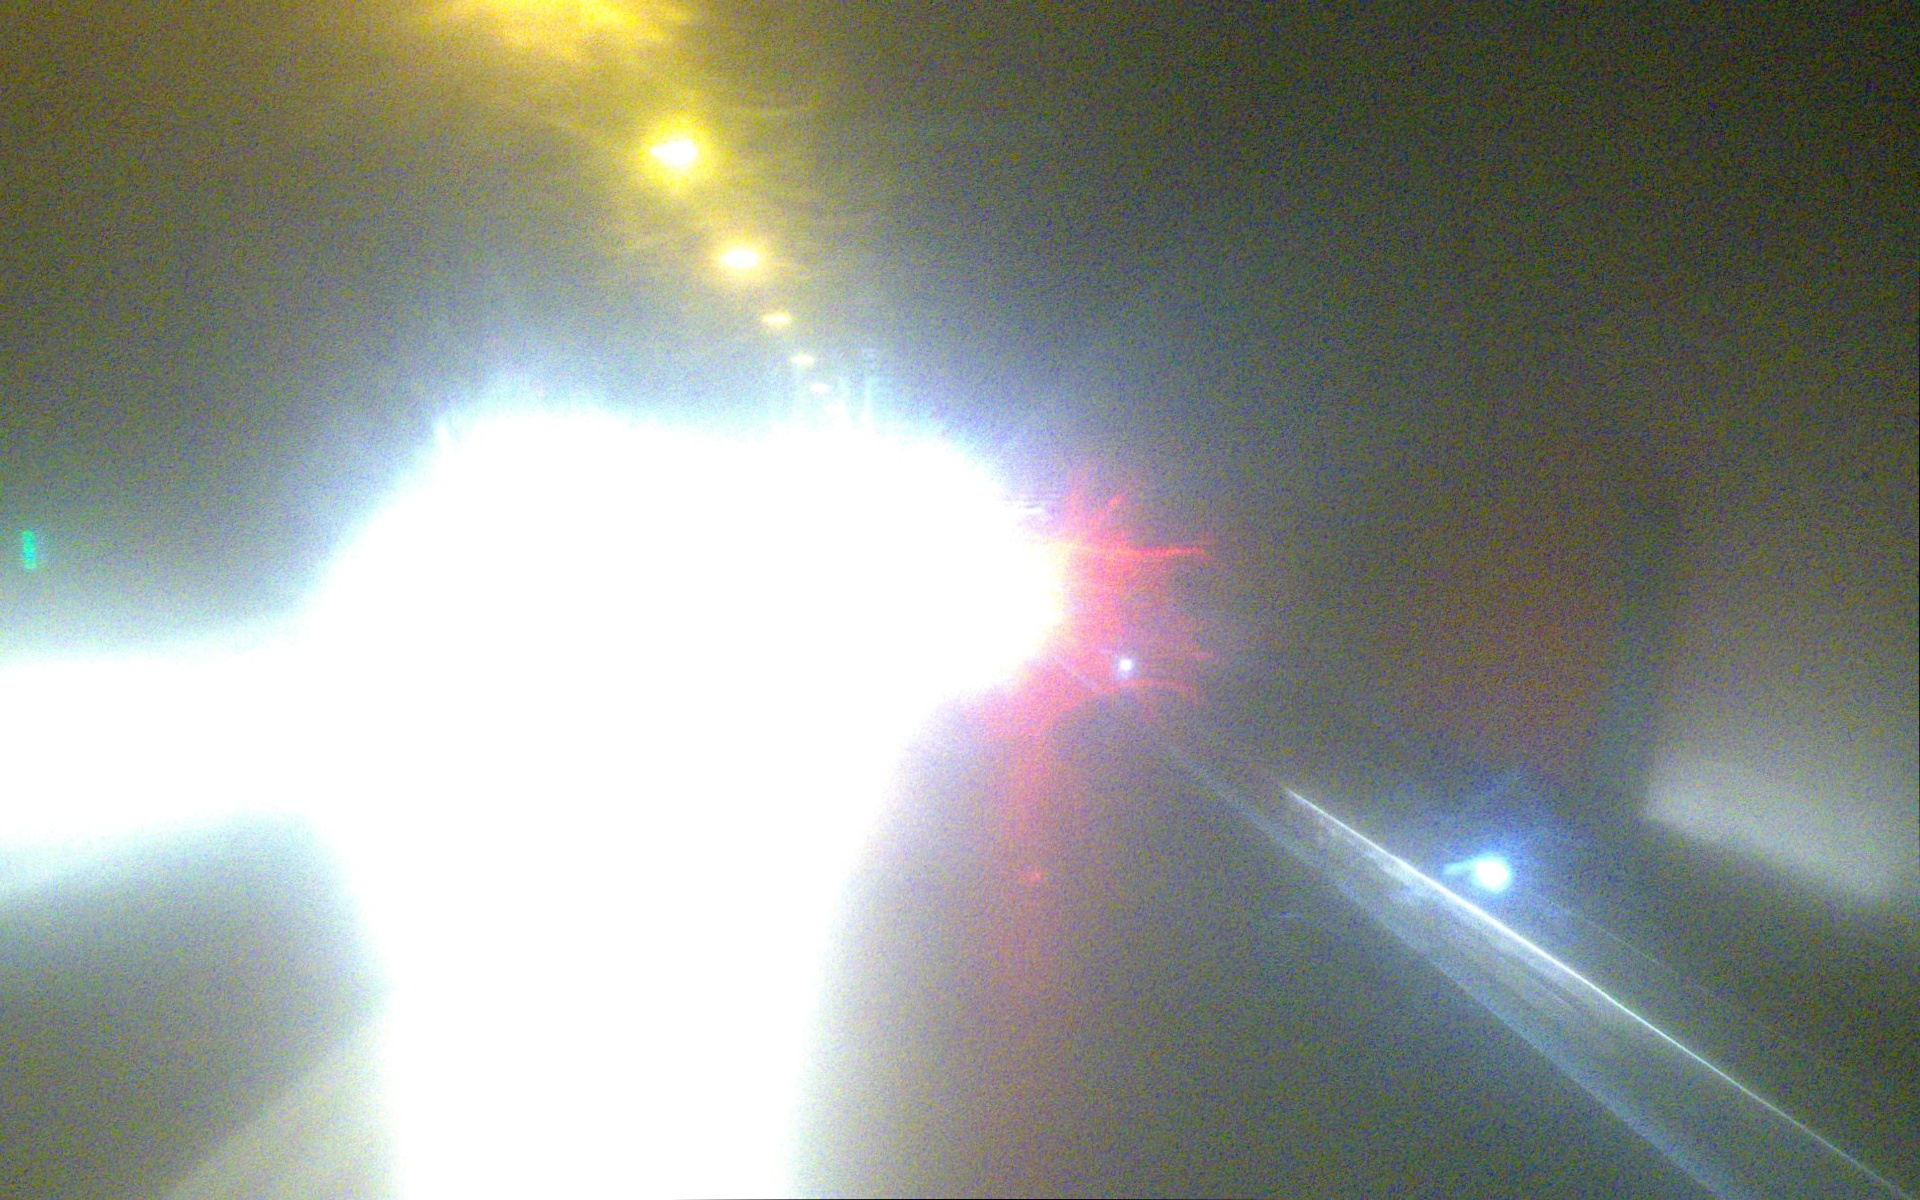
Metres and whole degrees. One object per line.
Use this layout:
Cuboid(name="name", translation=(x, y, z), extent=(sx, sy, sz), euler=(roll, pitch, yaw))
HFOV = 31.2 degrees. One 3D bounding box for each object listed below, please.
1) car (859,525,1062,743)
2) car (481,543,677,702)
Cuboid(name="car", translation=(0.004, 0.233, 30.180), extent=(1.635, 1.752, 4.146), euler=(-1, 1, 0))
Cuboid(name="car", translation=(-3.945, 0.193, 36.055), extent=(1.635, 1.529, 3.646), euler=(-1, 1, 0))
